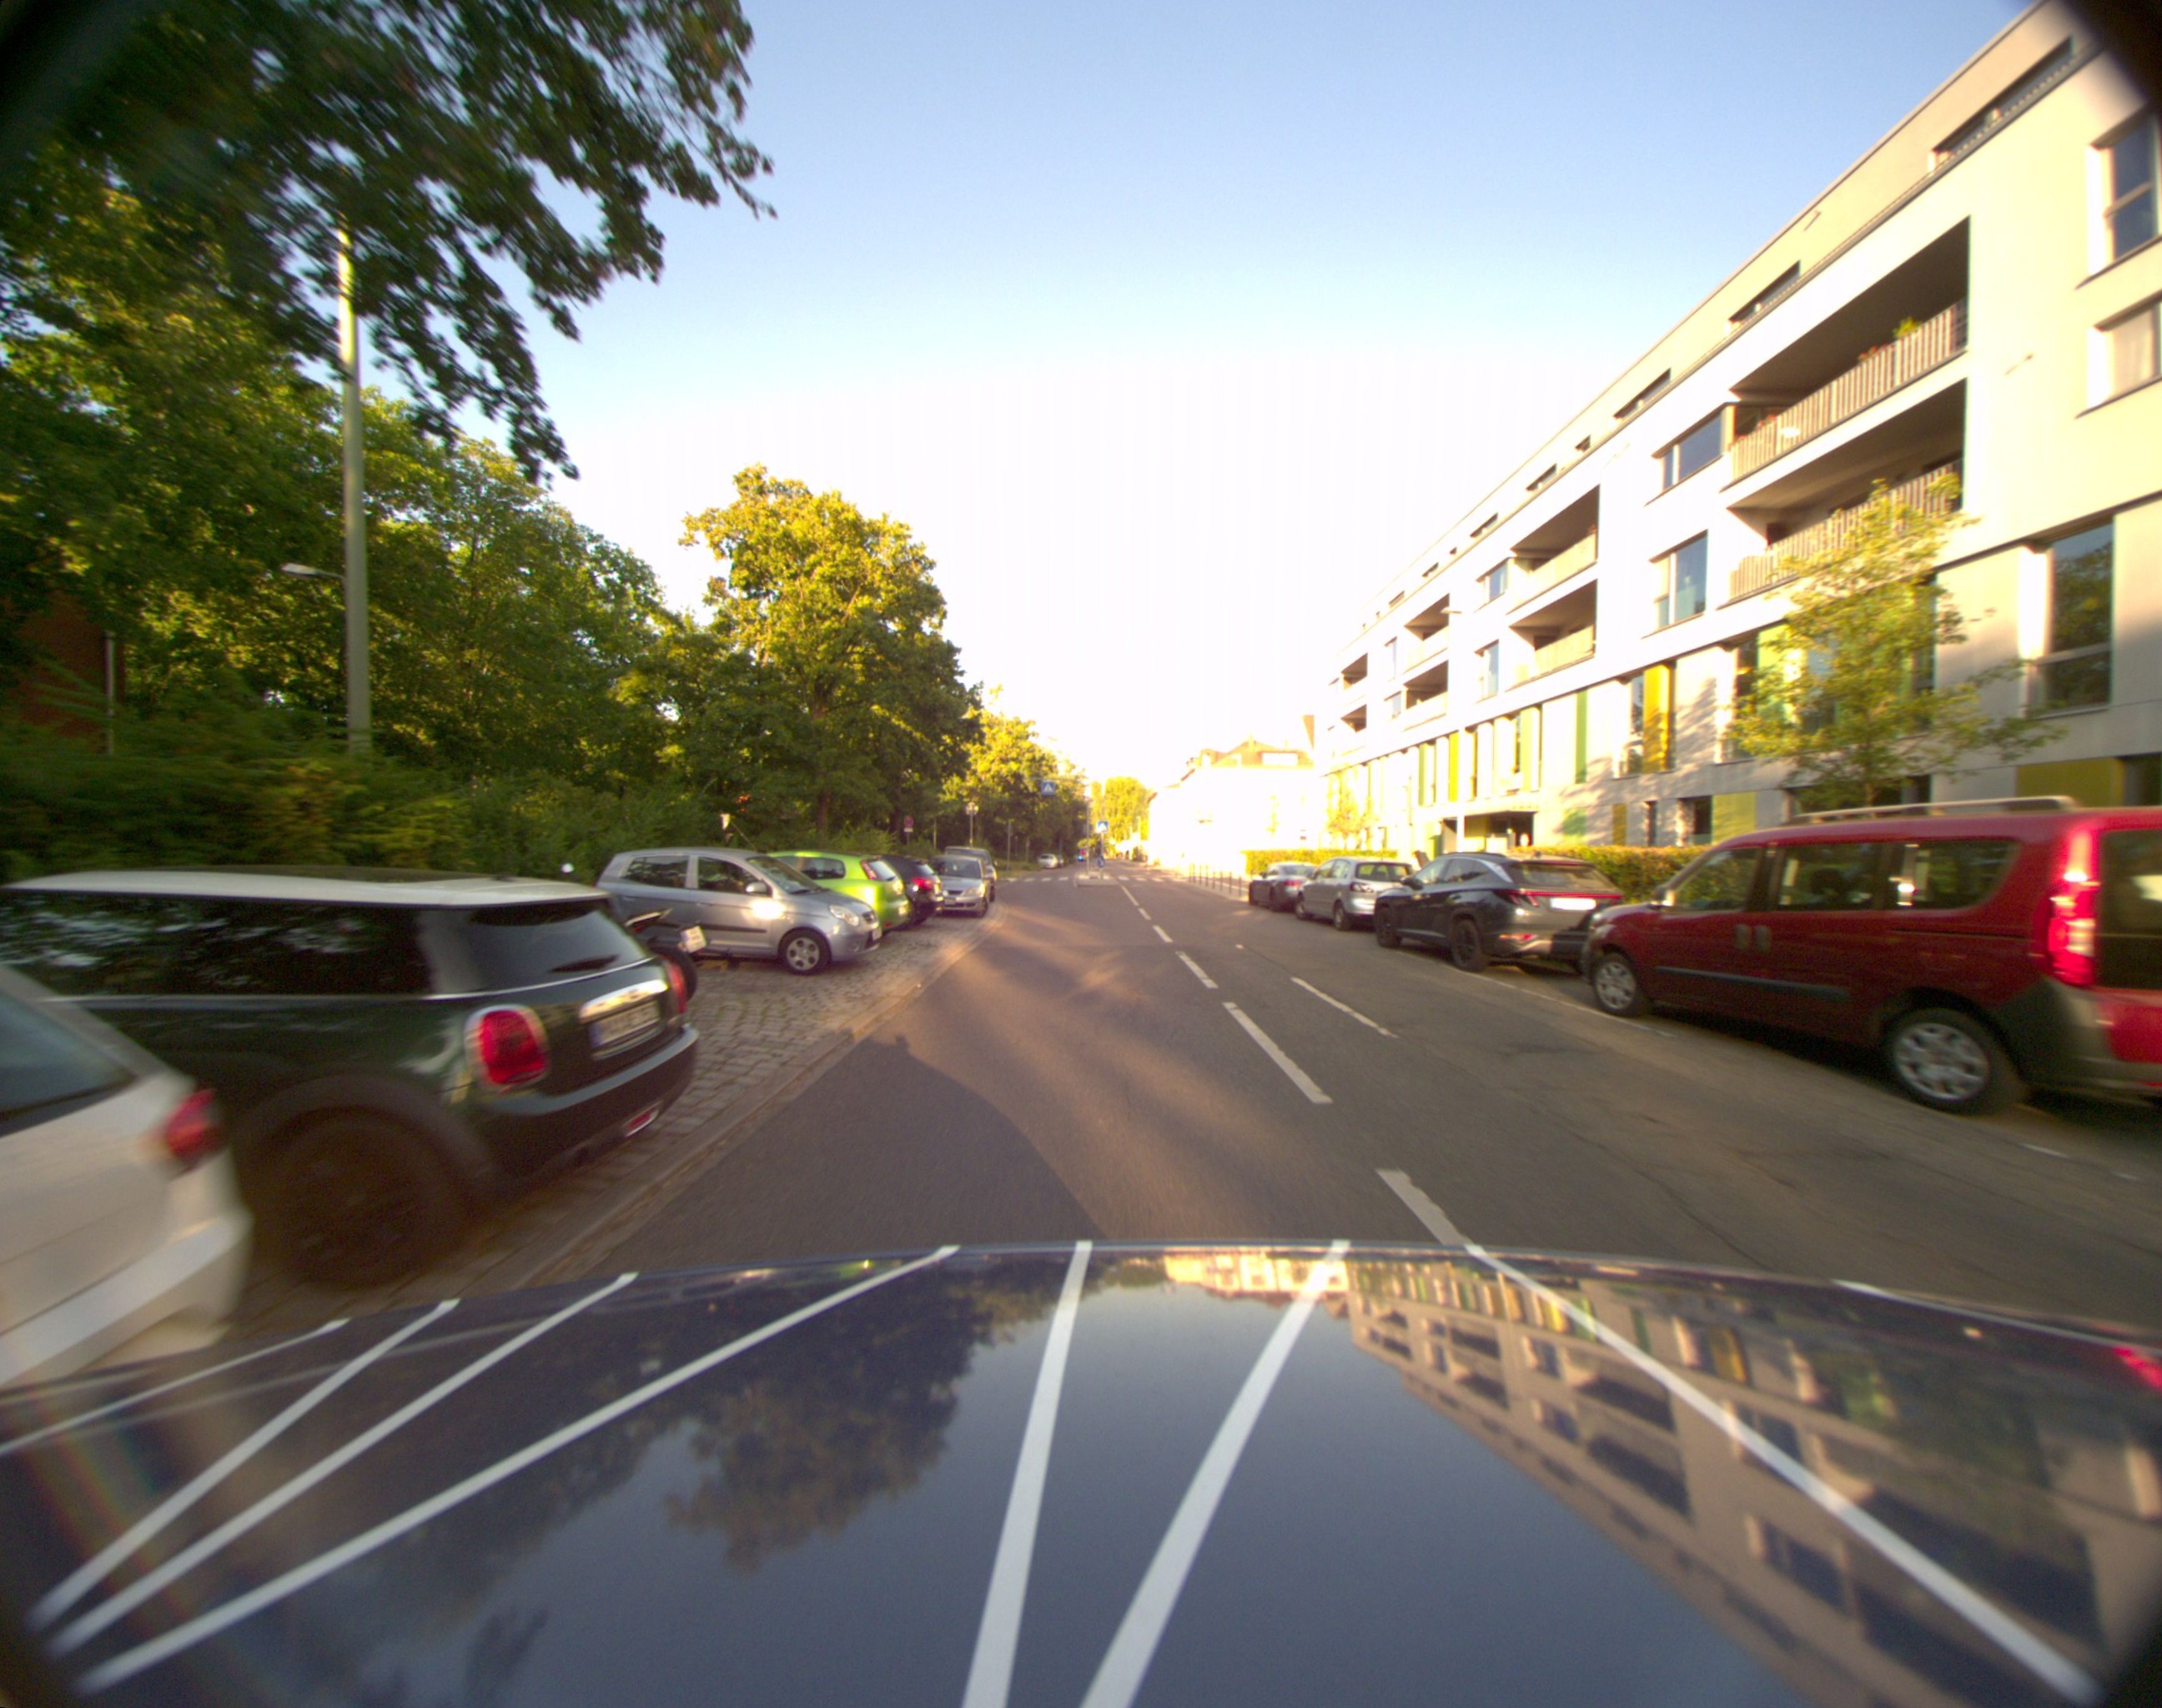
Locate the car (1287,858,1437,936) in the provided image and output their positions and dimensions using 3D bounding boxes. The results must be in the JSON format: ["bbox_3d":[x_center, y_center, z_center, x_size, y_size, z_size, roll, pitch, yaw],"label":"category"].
[{"bbox_3d":[6.105,0.858,17.045,1.747,1.525,4.115,0,0,-2],"label":"car"}]

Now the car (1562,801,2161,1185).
[{"bbox_3d":[5.991,0.714,5.849,1.812,1.878,4.238,2,0,-1],"label":"car"}]

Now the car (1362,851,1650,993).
[{"bbox_3d":[5.942,0.826,11.360,1.746,1.666,4.416,2,0,-1],"label":"car"}]

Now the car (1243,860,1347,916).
[{"bbox_3d":[6.012,0.903,21.881,1.746,1.349,4.396,1,0,0],"label":"car"}]

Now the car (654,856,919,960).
[{"bbox_3d":[-4.654,0.822,12.377,3.636,1.531,1.671,0,1,1],"label":"car"}]

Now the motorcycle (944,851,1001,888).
[{"bbox_3d":[-4.787,0.675,33.692,2.296,1.536,1.040,1,1,4],"label":"motorcycle"}]

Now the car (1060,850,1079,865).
[{"bbox_3d":[-1.193,0.368,82.780,1.752,1.478,4.509,1,0,3],"label":"car"}]

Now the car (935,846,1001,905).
[{"bbox_3d":[-3.783,0.636,25.250,1.928,1.738,4.661,1,0,-9],"label":"car"}]

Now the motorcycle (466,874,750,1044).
[{"bbox_3d":[-4.197,0.888,6.819,2.096,1.296,0.778,3,1,6],"label":"motorcycle"}]

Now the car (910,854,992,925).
[{"bbox_3d":[-3.156,0.801,19.158,1.655,1.558,4.299,1,0,-5],"label":"car"}]

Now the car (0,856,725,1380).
[{"bbox_3d":[-3.809,0.890,3.333,3.619,1.516,1.671,4,0,-1],"label":"car"}]

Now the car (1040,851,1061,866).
[{"bbox_3d":[-3.045,0.421,76.492,1.752,1.478,4.177,0,1,4],"label":"car"}]

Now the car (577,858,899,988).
[{"bbox_3d":[-4.284,0.825,9.880,3.393,1.517,1.671,0,1,1],"label":"car"}]

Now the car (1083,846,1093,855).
[{"bbox_3d":[1.547,-0.806,175.212,2.228,2.002,4.890,0,1,2],"label":"car"}]

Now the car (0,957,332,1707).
[{"bbox_3d":[-3.806,0.914,1.063,3.676,1.436,1.735,4,0,-1],"label":"car"}]

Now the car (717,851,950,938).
[{"bbox_3d":[-4.710,0.741,14.859,3.959,1.503,1.739,1,1,0],"label":"car"}]

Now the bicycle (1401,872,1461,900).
[{"bbox_3d":[11.899,1.093,25.858,1.756,0.912,0.617,-1,1,-1],"label":"bicycle"}]
